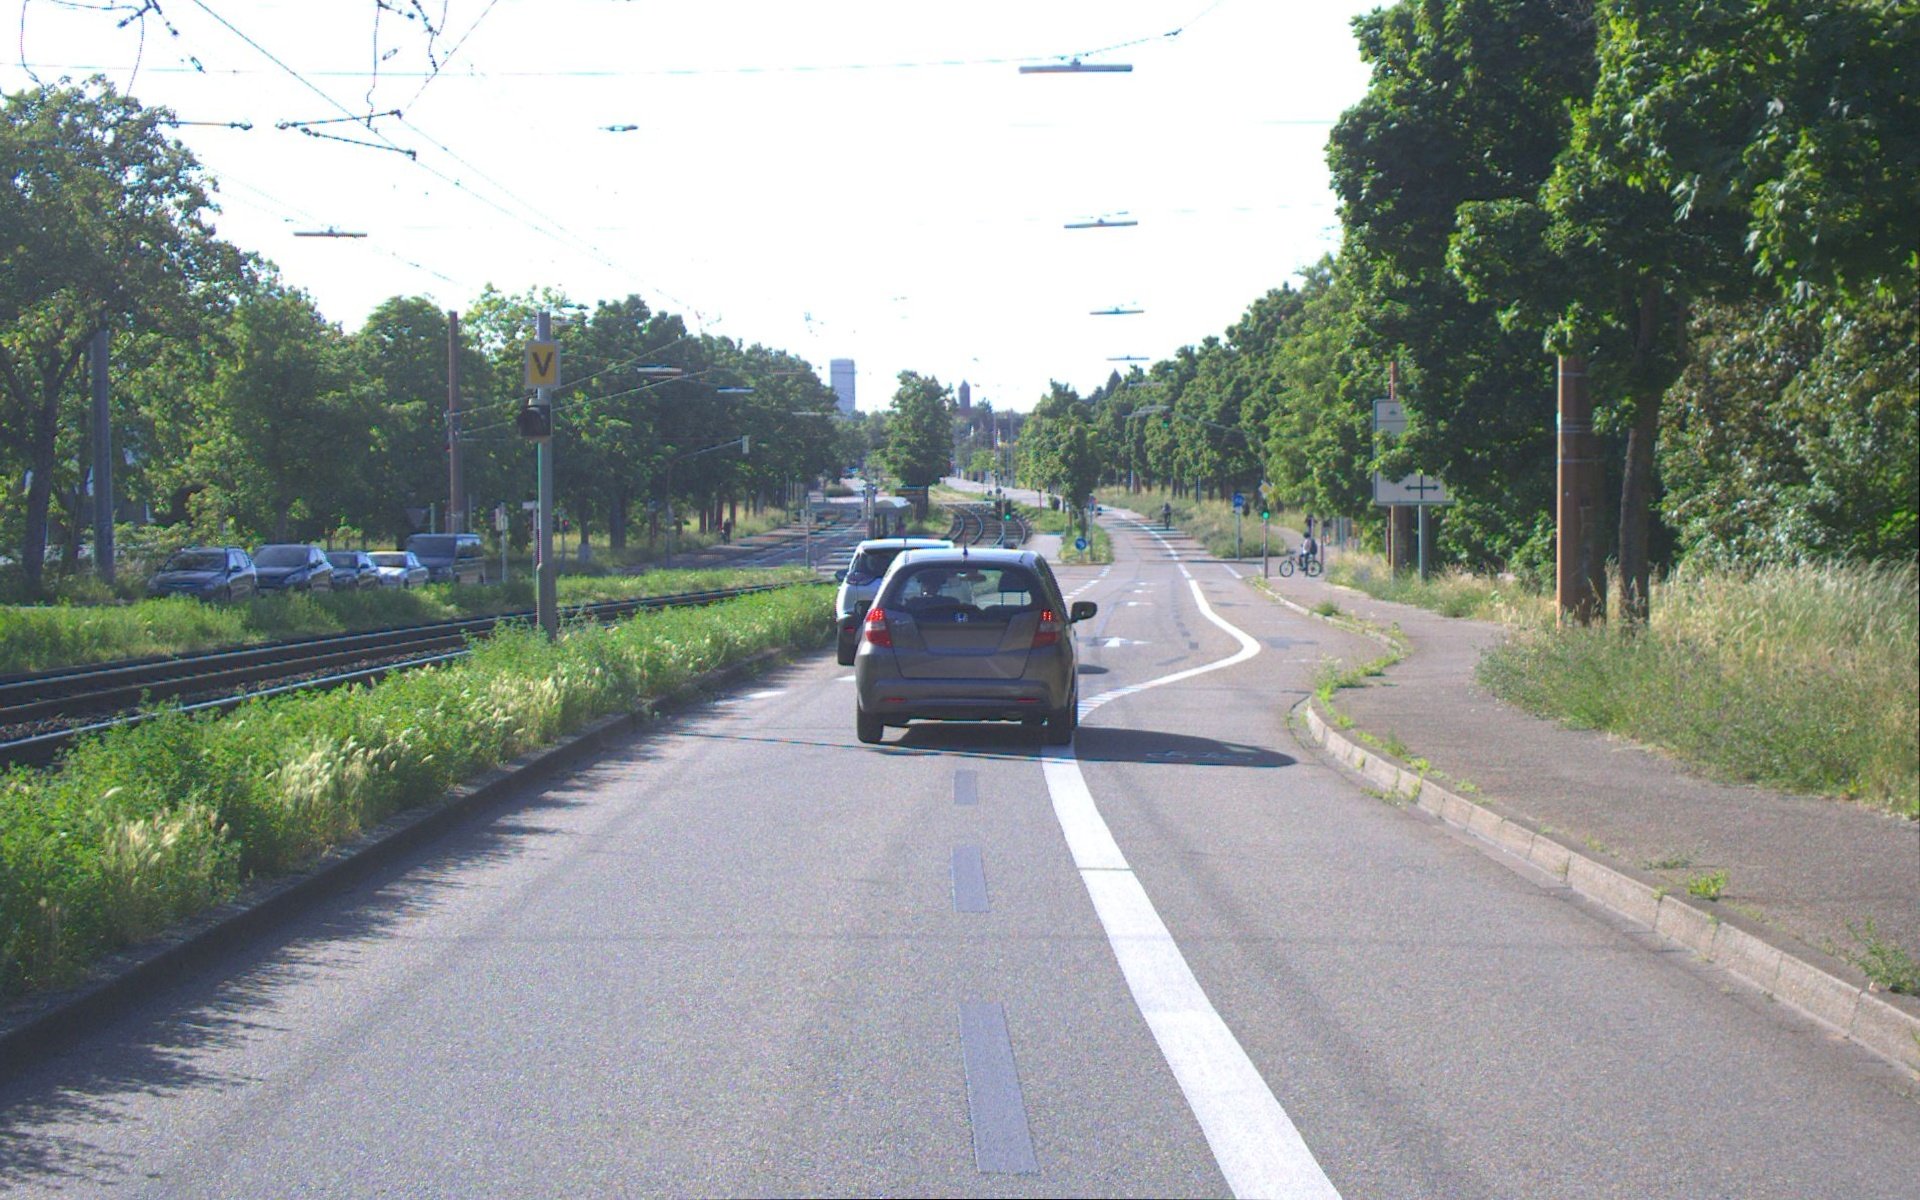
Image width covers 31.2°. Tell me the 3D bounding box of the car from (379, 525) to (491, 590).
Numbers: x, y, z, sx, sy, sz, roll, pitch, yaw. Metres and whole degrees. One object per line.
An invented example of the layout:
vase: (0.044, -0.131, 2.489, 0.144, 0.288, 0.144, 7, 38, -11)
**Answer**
car: (-15.740, -1.291, 103.286, 2.197, 1.885, 4.790, 0, 1, 6)

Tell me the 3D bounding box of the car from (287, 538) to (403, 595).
car: (-16.237, -0.903, 90.954, 1.994, 1.432, 4.414, 0, 1, 4)

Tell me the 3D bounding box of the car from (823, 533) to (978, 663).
car: (-0.722, -0.071, 44.639, 1.851, 1.601, 4.255, 0, 1, 1)

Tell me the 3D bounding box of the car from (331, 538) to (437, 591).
car: (-16.214, -1.023, 96.937, 1.928, 1.432, 4.694, 0, 1, 4)

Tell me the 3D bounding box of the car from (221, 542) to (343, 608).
car: (-16.732, -0.637, 85.000, 1.993, 1.569, 4.435, 0, 1, 2)

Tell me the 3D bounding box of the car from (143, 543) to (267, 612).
car: (-17.132, -0.521, 78.209, 1.735, 1.489, 4.328, 1, 1, 2)

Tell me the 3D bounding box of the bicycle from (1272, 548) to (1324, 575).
bicycle: (13.333, -1.531, 135.669, 1.921, 0.994, 0.764, -2, 0, 15)

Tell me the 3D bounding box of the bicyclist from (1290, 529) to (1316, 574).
bicyclist: (13.529, -1.915, 135.609, 0.910, 1.739, 0.764, -1, 0, 15)

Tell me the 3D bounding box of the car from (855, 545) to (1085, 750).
car: (0.116, 0.326, 27.839, 1.707, 1.503, 4.000, 1, 1, 1)
